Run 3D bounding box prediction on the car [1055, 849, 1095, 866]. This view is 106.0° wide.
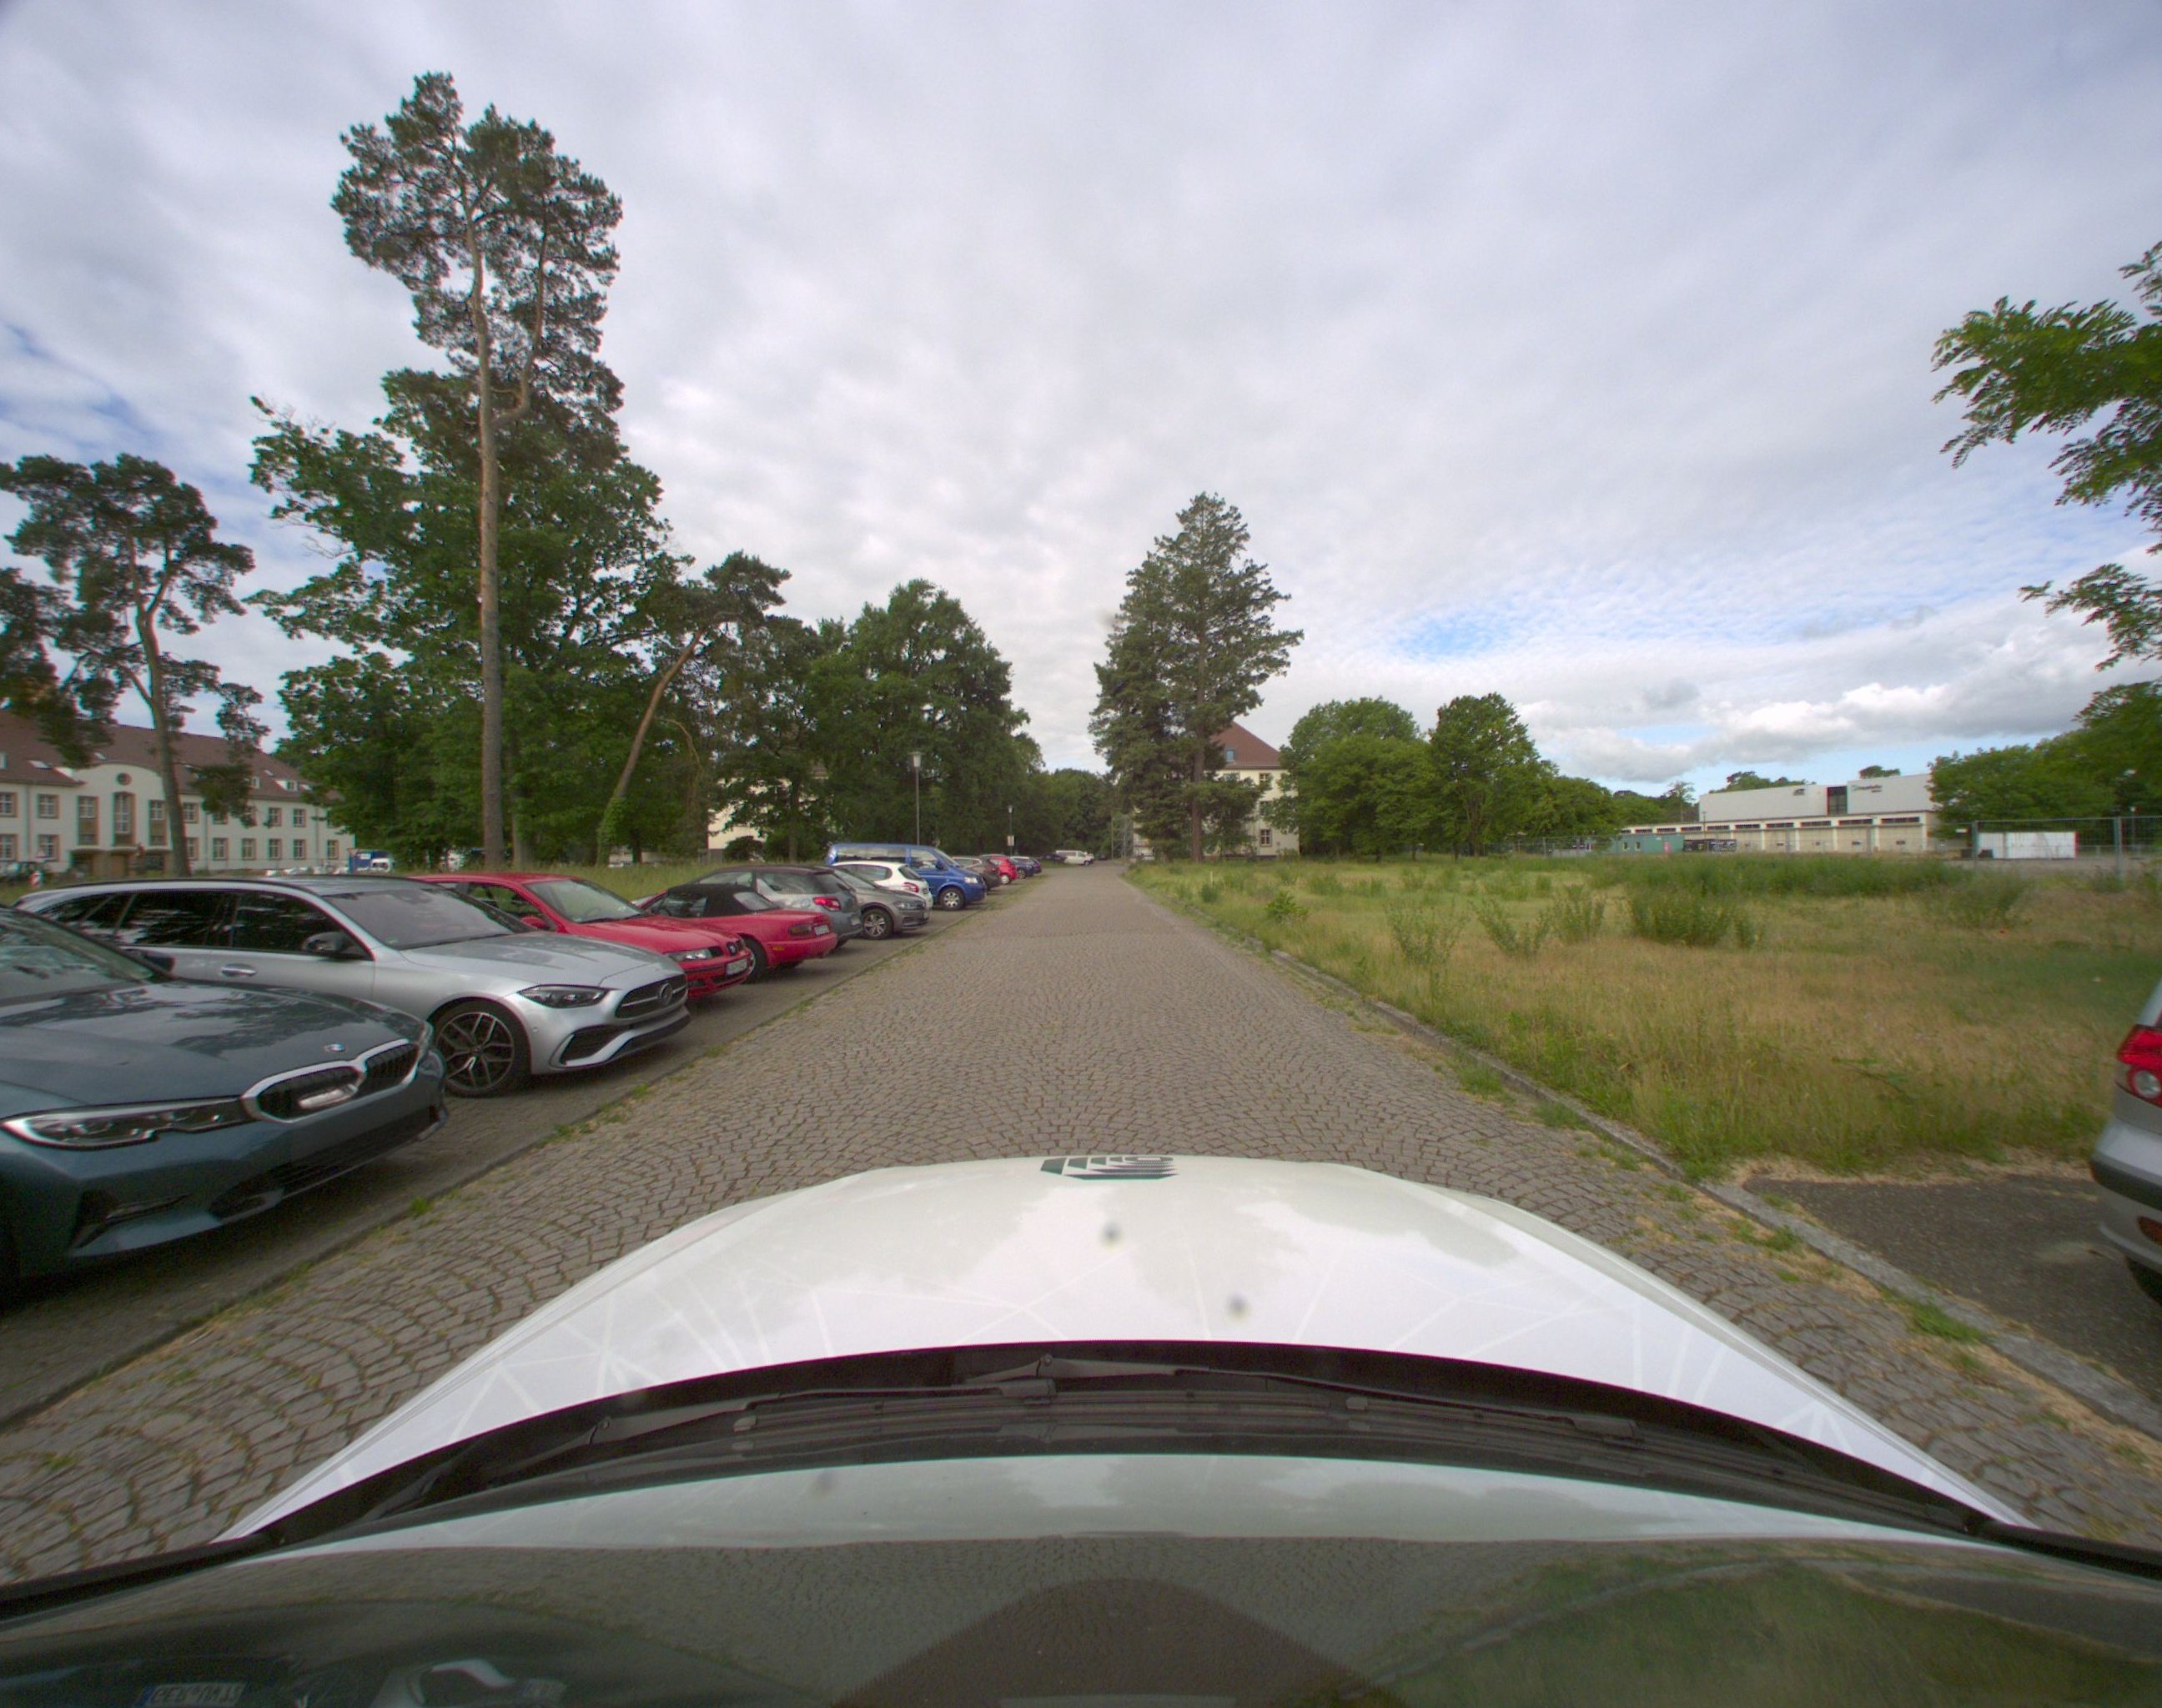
[{"bbox_3d":[-0.832,0.486,107.812,5.222,2.168,1.998,-1,0,-3],"label":"car"}]

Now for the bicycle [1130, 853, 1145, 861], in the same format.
[{"bbox_3d":[8.686,0.489,125.096,2.231,1.254,0.778,-1,0,2],"label":"bicycle"}]

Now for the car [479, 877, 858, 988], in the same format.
[{"bbox_3d":[-5.381,1.003,11.026,4.151,1.266,1.831,-1,0,1],"label":"car"}]

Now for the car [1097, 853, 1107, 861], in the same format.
[{"bbox_3d":[4.524,0.637,174.136,1.945,1.521,3.998,-1,0,-1],"label":"car"}]

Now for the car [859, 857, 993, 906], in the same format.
[{"bbox_3d":[-5.126,0.895,27.333,4.155,1.510,1.780,-1,0,-3],"label":"car"}]

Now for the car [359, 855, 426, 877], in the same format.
[{"bbox_3d":[-68.012,1.153,80.605,1.985,2.014,5.234,-1,-1,3],"label":"car"}]

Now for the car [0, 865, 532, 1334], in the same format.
[{"bbox_3d":[-5.264,0.872,3.614,4.241,1.548,1.933,-1,0,-4],"label":"car"}]

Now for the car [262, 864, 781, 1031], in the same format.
[{"bbox_3d":[-5.635,0.897,8.652,4.153,1.476,1.864,-1,0,-1],"label":"car"}]

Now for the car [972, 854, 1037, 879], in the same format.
[{"bbox_3d":[-5.053,0.823,54.239,4.216,1.577,1.886,0,0,-2],"label":"car"}]

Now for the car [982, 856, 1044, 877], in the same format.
[{"bbox_3d":[-4.903,0.862,58.965,4.287,1.461,1.975,0,0,1],"label":"car"}]

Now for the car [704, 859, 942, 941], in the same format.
[{"bbox_3d":[-5.091,0.893,16.489,4.151,1.491,1.865,-1,0,1],"label":"car"}]

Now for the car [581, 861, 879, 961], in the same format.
[{"bbox_3d":[-5.734,0.898,13.679,4.151,1.482,1.846,-1,0,0],"label":"car"}]

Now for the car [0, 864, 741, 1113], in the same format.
[{"bbox_3d":[-5.233,0.880,6.282,4.363,1.507,1.934,-1,0,-2],"label":"car"}]

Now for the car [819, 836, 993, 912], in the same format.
[{"bbox_3d":[-5.195,0.575,24.744,4.768,2.122,2.114,-1,0,-1],"label":"car"}]

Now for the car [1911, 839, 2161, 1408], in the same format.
[{"bbox_3d":[4.955,0.635,2.000,4.063,1.515,1.803,-4,0,-3],"label":"car"}]

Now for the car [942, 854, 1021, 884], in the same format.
[{"bbox_3d":[-5.326,0.796,43.994,4.044,1.525,1.904,-1,0,-2],"label":"car"}]

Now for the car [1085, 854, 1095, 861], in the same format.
[{"bbox_3d":[1.853,0.691,173.820,2.112,1.521,3.998,-1,0,-1],"label":"car"}]

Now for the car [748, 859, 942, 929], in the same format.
[{"bbox_3d":[-5.522,0.915,19.448,4.053,1.497,1.846,-1,0,0],"label":"car"}]

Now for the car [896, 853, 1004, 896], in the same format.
[{"bbox_3d":[-5.324,0.817,33.623,4.156,1.622,1.985,-1,0,-3],"label":"car"}]
